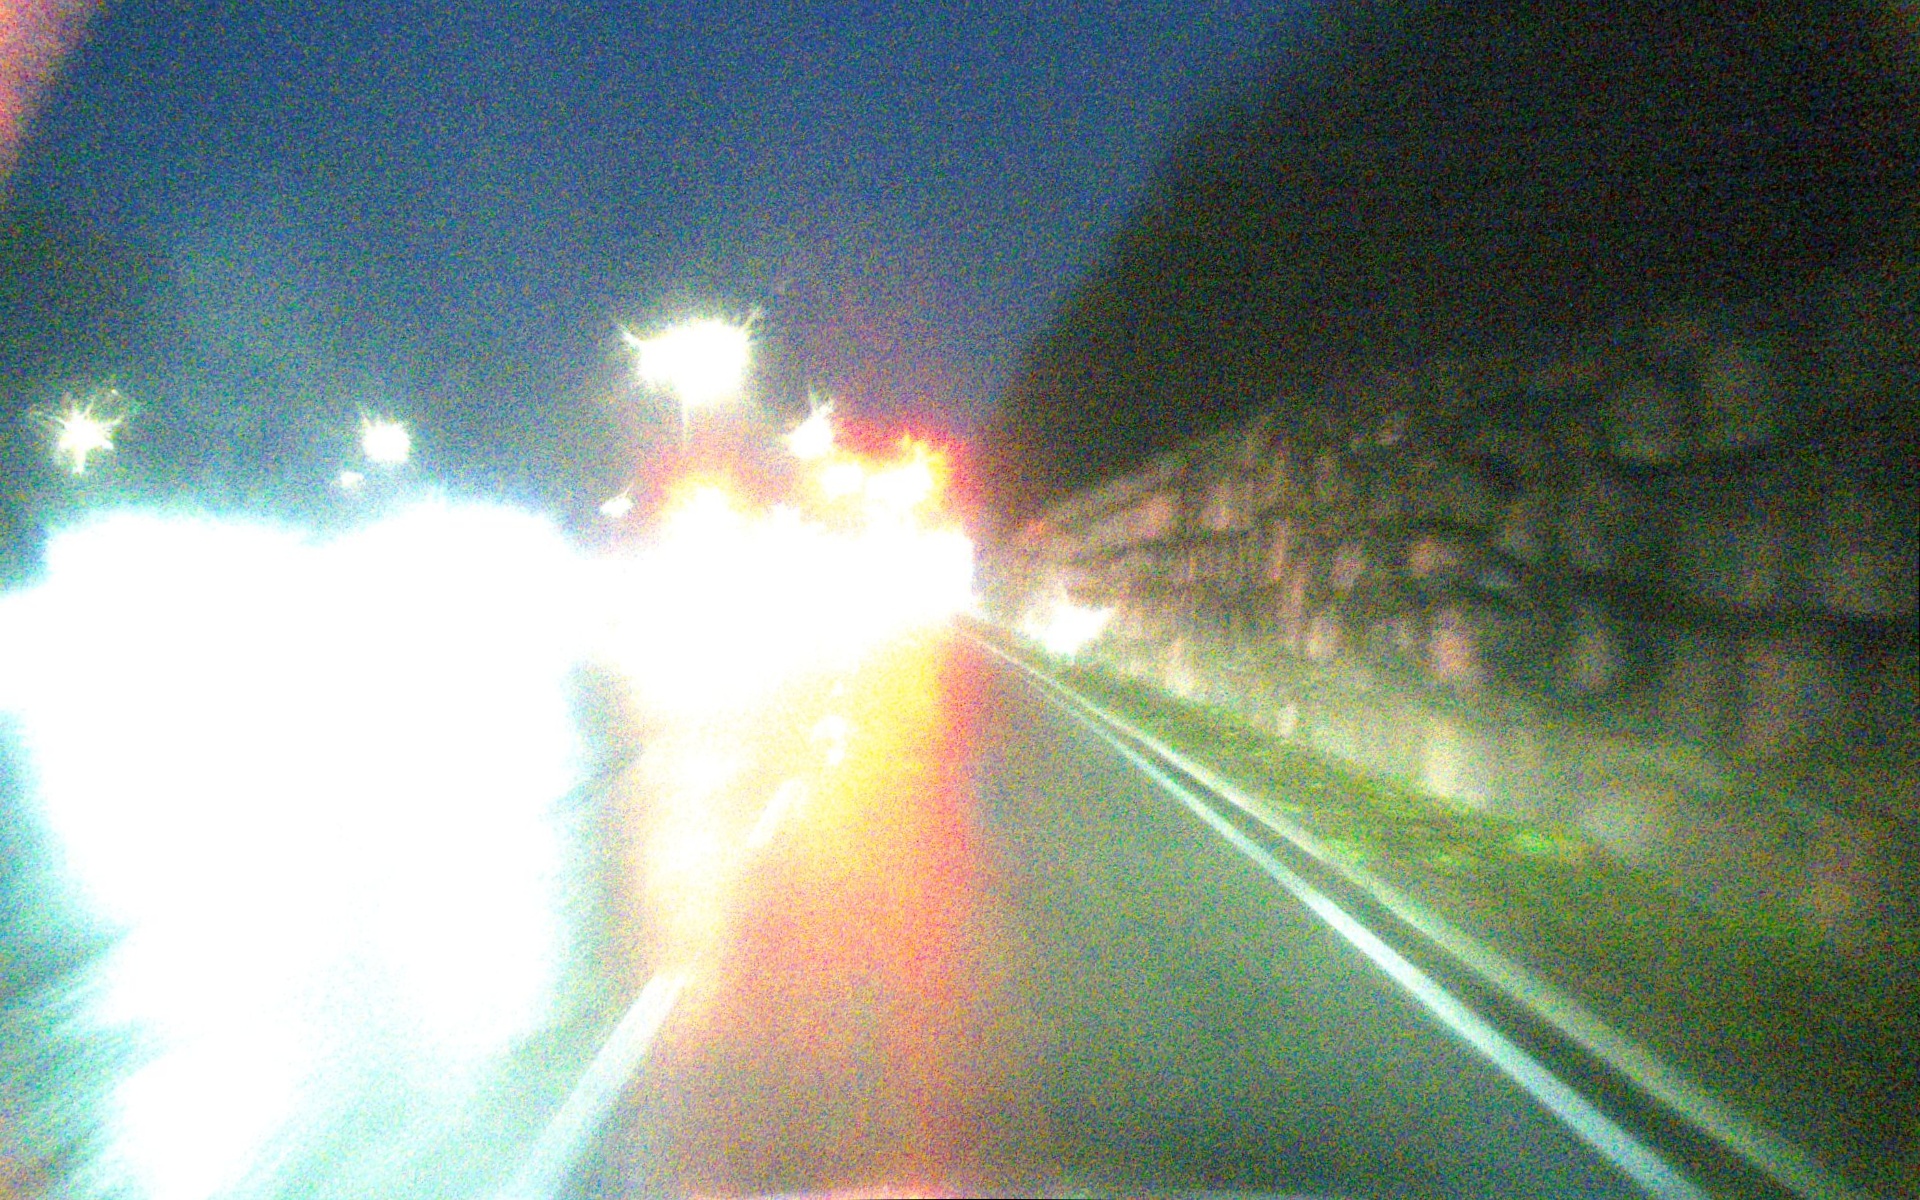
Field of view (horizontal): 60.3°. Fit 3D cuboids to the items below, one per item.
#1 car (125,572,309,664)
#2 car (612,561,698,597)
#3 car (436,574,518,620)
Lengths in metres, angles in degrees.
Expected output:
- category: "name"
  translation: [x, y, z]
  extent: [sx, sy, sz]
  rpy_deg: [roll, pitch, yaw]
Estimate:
- category: "car"
  translation: [-13.028, 0.265, 29.251]
  extent: [1.755, 1.466, 3.852]
  rpy_deg: [-1, 1, -5]
- category: "car"
  translation: [-15.433, -1.062, 83.704]
  extent: [3.904, 1.691, 2.000]
  rpy_deg: [2, 0, 1]
- category: "car"
  translation: [-15.714, -0.120, 53.964]
  extent: [1.840, 1.422, 4.244]
  rpy_deg: [1, 0, -6]
